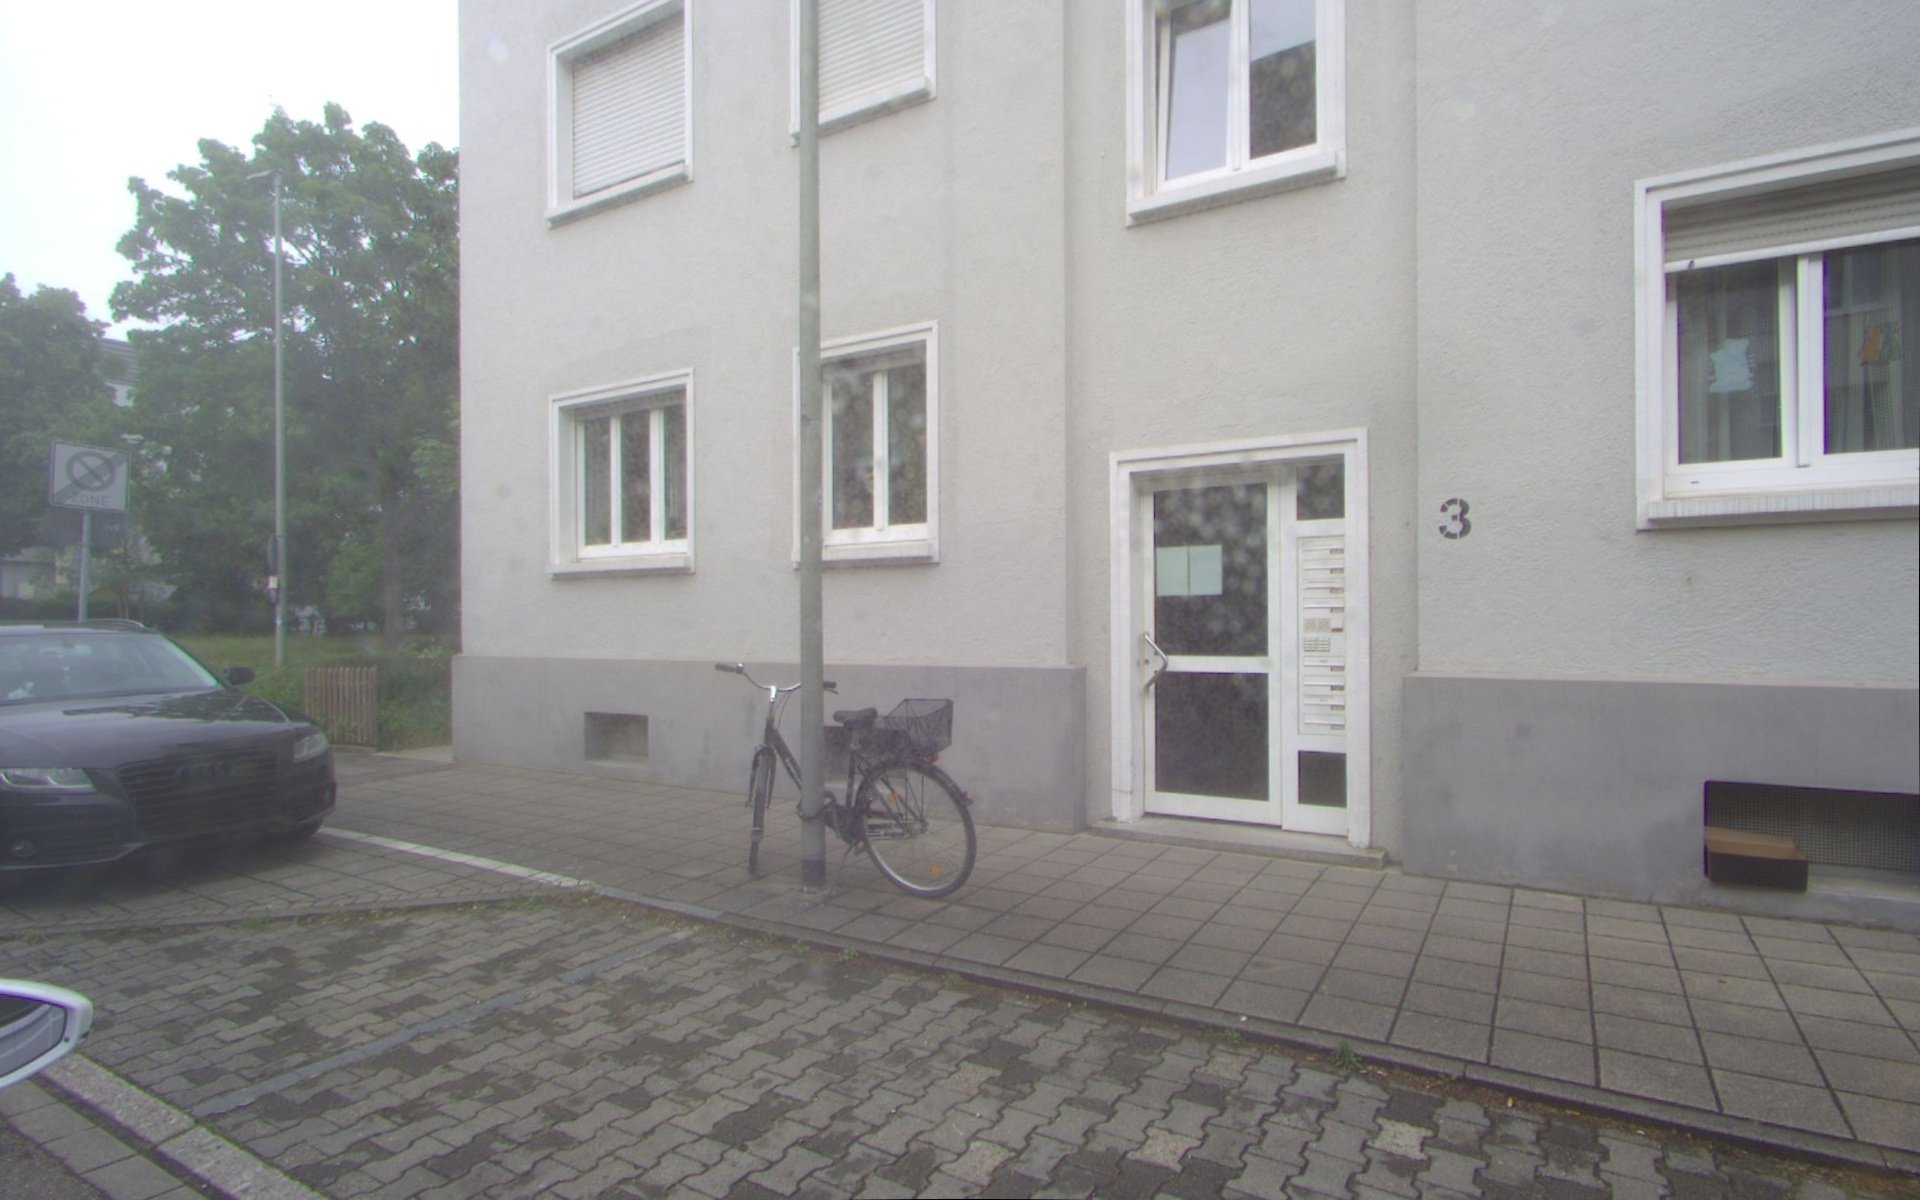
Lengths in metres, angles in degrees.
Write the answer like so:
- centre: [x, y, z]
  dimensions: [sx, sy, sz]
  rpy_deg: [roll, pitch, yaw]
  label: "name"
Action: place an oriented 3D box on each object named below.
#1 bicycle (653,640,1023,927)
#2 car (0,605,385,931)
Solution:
- centre: [-0.670, 0.848, 5.258]
  dimensions: [1.868, 1.216, 0.747]
  rpy_deg: [0, 1, 32]
  label: "bicycle"
- centre: [-5.973, 0.793, 6.476]
  dimensions: [4.655, 1.482, 1.857]
  rpy_deg: [-1, 0, 30]
  label: "car"
